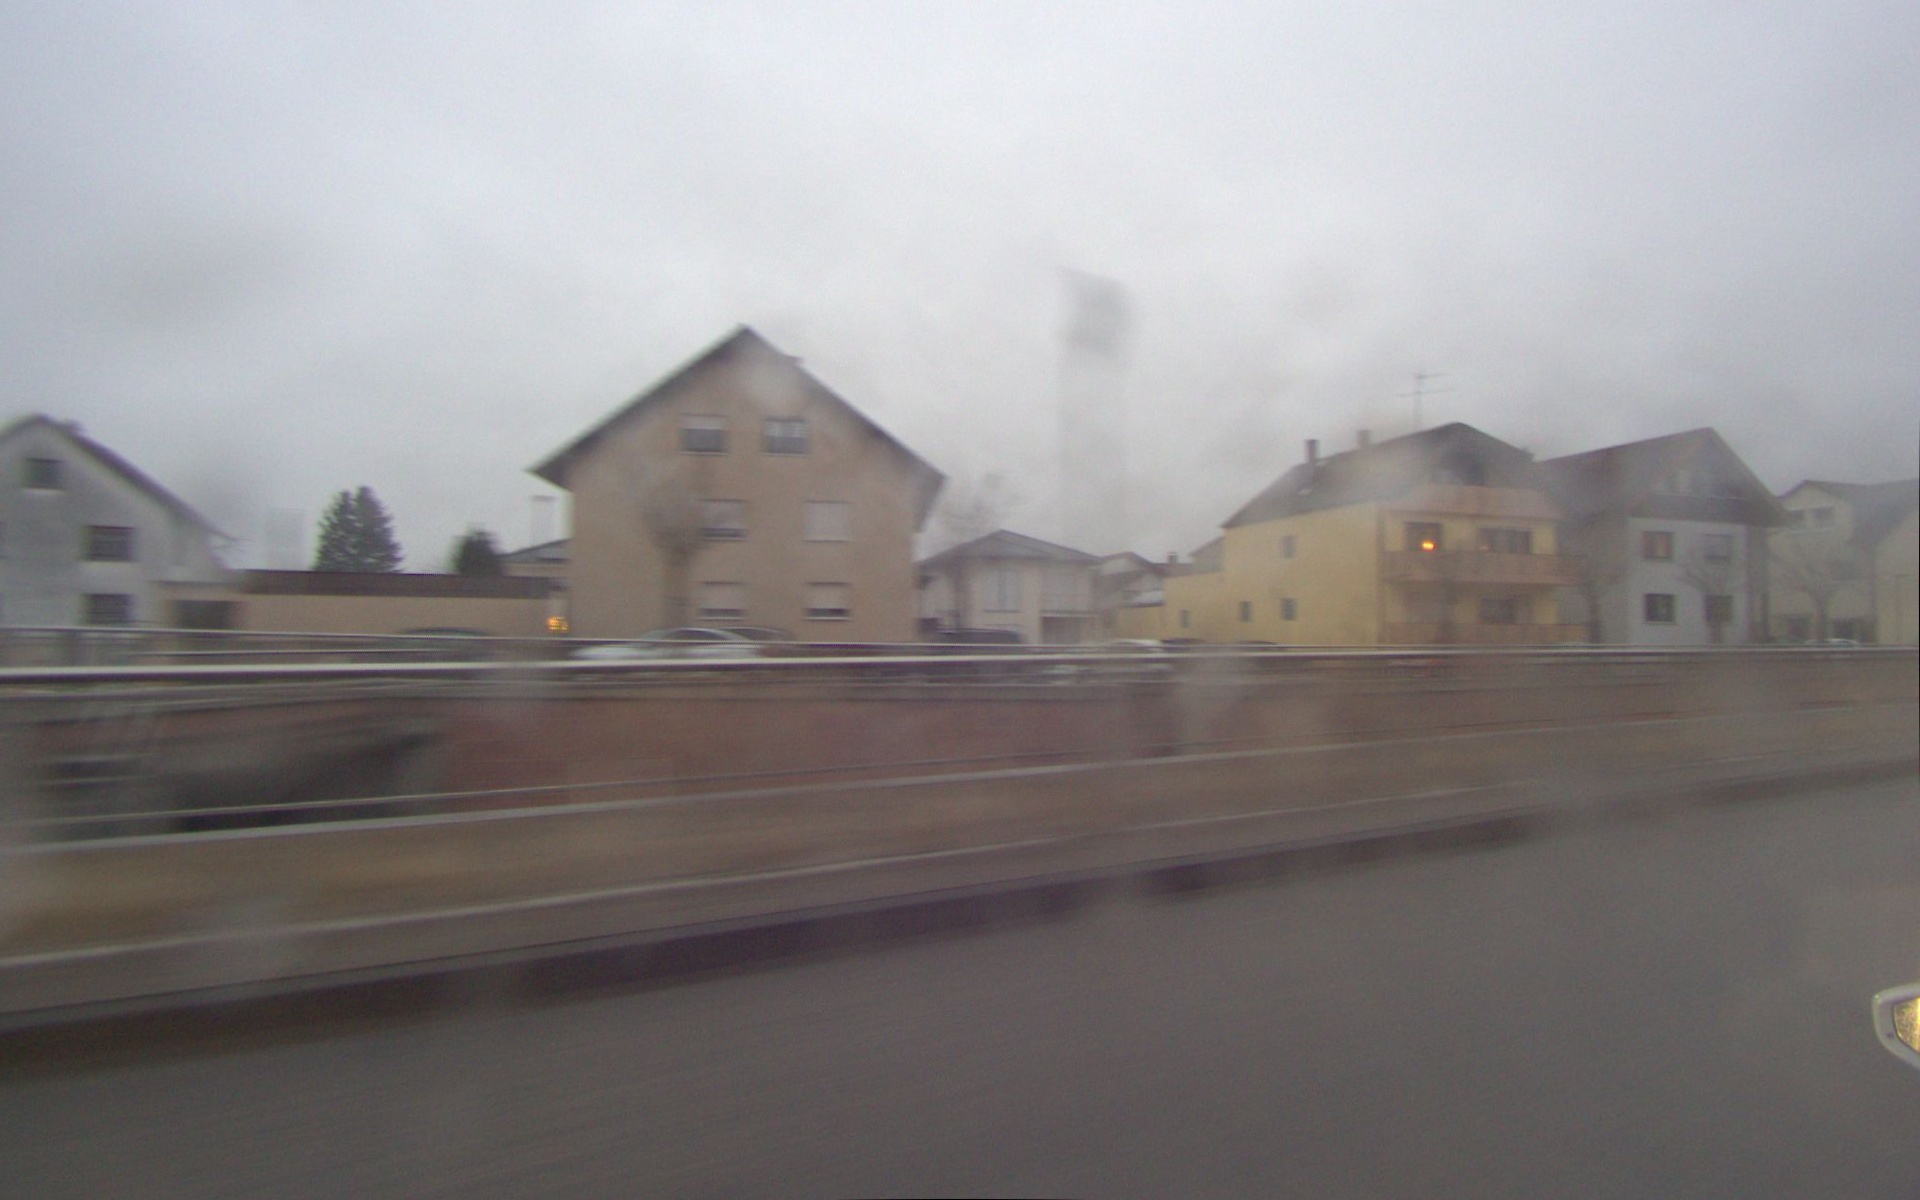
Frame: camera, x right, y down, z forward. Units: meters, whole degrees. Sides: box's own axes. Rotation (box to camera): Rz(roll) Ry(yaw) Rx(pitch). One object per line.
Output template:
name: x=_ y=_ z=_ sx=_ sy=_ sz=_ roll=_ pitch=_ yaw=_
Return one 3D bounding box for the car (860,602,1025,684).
car: x=-0.478 y=1.106 z=26.740 sx=3.941 sy=2.040 sz=1.990 roll=1 pitch=0 yaw=-22

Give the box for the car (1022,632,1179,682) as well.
car: x=4.061 y=1.622 z=29.077 sx=4.052 sy=1.325 sz=1.990 roll=1 pitch=-1 yaw=-22

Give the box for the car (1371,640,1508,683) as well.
car: x=16.255 y=2.042 z=34.062 sx=4.052 sy=1.325 sz=1.990 roll=1 pitch=-1 yaw=-22

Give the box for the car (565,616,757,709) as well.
car: x=-7.131 y=1.420 z=23.923 sx=4.165 sy=2.040 sz=1.988 roll=1 pitch=-1 yaw=-25

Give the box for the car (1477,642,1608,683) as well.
car: x=20.763 y=2.198 z=35.846 sx=4.052 sy=1.325 sz=1.990 roll=1 pitch=-1 yaw=-22

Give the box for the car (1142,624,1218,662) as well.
car: x=10.327 y=1.998 z=47.524 sx=1.817 sy=1.684 sz=4.025 roll=1 pitch=-1 yaw=-17

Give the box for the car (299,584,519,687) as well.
car: x=-11.608 y=0.740 z=21.502 sx=3.945 sy=2.040 sz=1.912 roll=1 pitch=-1 yaw=-25

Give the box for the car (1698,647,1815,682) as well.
car: x=32.435 y=2.601 z=40.909 sx=4.052 sy=1.325 sz=1.990 roll=1 pitch=-1 yaw=-22

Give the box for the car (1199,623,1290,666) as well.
car: x=11.966 y=1.836 z=42.512 sx=1.817 sy=1.684 sz=4.025 roll=1 pitch=-1 yaw=-17

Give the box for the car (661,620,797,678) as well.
car: x=-7.089 y=1.510 z=31.162 sx=3.947 sy=1.677 sz=1.807 roll=1 pitch=-2 yaw=-9
